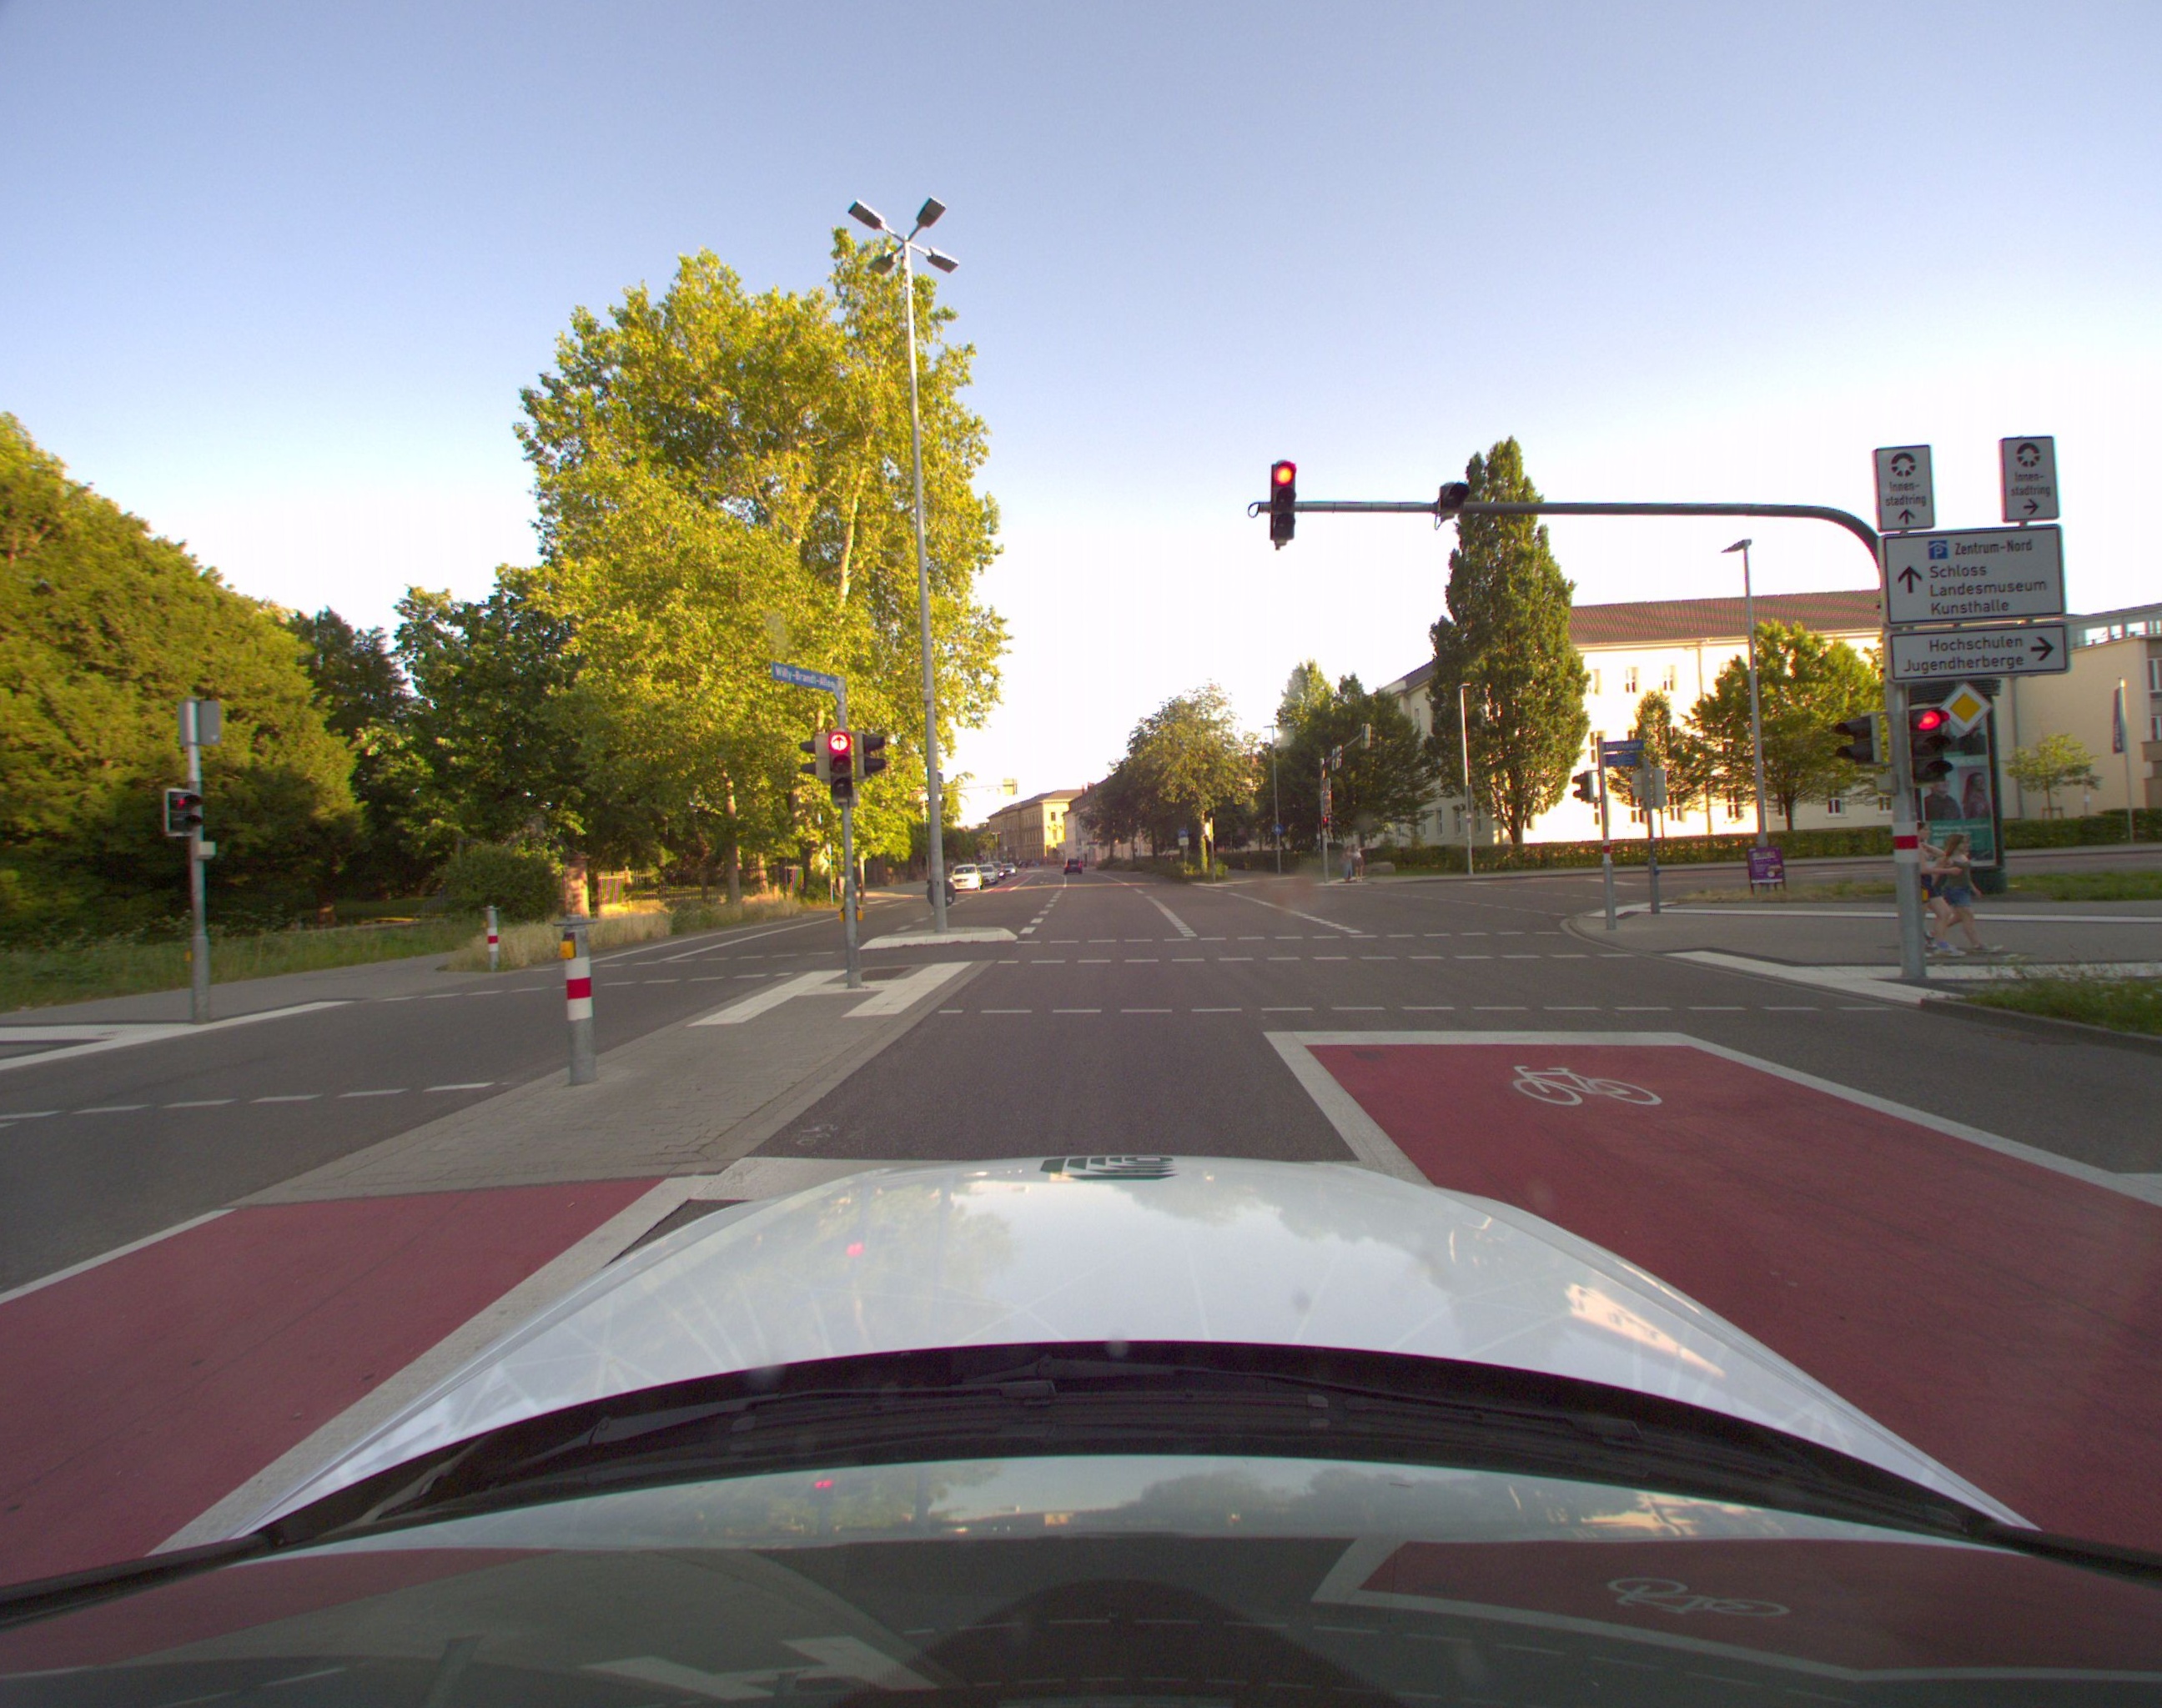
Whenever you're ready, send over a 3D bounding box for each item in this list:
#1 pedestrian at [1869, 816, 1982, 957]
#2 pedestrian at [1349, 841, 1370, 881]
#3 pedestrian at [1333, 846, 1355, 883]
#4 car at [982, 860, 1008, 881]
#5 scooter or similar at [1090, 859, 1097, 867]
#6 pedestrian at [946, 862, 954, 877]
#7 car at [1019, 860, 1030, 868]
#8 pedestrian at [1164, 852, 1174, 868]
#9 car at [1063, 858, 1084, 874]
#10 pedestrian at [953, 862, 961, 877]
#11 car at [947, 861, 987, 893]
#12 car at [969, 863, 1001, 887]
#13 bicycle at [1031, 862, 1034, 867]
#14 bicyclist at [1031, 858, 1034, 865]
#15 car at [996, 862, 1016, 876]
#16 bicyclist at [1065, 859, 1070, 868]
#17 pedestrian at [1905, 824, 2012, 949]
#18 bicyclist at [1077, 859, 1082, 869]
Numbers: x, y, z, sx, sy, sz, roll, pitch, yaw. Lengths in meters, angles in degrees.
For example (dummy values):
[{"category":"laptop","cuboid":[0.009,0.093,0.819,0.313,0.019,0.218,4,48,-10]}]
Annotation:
[{"category":"pedestrian","cuboid":[10.485,0.385,10.120,0.724,1.660,0.769,-2,-1,-31]},{"category":"pedestrian","cuboid":[12.559,0.329,36.729,0.678,1.754,0.689,-3,0,1]},{"category":"pedestrian","cuboid":[11.845,0.454,36.718,0.678,1.622,0.845,-3,0,1]},{"category":"car","cuboid":[-7.682,1.467,73.409,1.912,1.624,4.635,-5,0,-2]},{"category":"scooter or similar","cuboid":[2.252,1.639,145.510,0.630,1.337,2.390,-2,-1,-12]},{"category":"pedestrian","cuboid":[-14.515,1.695,90.372,0.678,1.622,0.689,-3,0,1]},{"category":"car","cuboid":[-12.090,2.138,173.051,1.915,1.417,4.756,-5,0,-8]},{"category":"pedestrian","cuboid":[9.479,0.672,87.916,0.769,1.739,0.805,-3,0,-8]},{"category":"car","cuboid":[-0.752,1.181,80.414,1.863,1.510,3.996,-3,0,-3]},{"category":"pedestrian","cuboid":[-13.748,1.715,90.316,0.678,1.622,0.688,-3,0,1]},{"category":"car","cuboid":[-7.057,1.388,50.764,1.912,1.695,4.422,-5,0,-2]},{"category":"car","cuboid":[-7.137,1.513,60.780,1.912,1.583,4.670,-5,0,-2]},{"category":"bicycle","cuboid":[-10.759,2.338,180.981,0.651,1.015,2.192,0,-1,-8]},{"category":"bicyclist","cuboid":[-10.767,1.639,181.008,0.651,1.698,0.954,0,-1,-8]},{"category":"car","cuboid":[-8.488,1.653,92.163,1.912,1.417,4.766,-5,0,-2]},{"category":"bicyclist","cuboid":[-1.983,1.389,119.795,0.650,1.446,0.879,0,-1,-1]},{"category":"pedestrian","cuboid":[11.338,0.403,10.532,0.740,1.523,0.781,-2,-1,-33]},{"category":"bicyclist","cuboid":[-0.251,1.474,120.156,0.650,1.475,0.940,0,-1,-3]}]
